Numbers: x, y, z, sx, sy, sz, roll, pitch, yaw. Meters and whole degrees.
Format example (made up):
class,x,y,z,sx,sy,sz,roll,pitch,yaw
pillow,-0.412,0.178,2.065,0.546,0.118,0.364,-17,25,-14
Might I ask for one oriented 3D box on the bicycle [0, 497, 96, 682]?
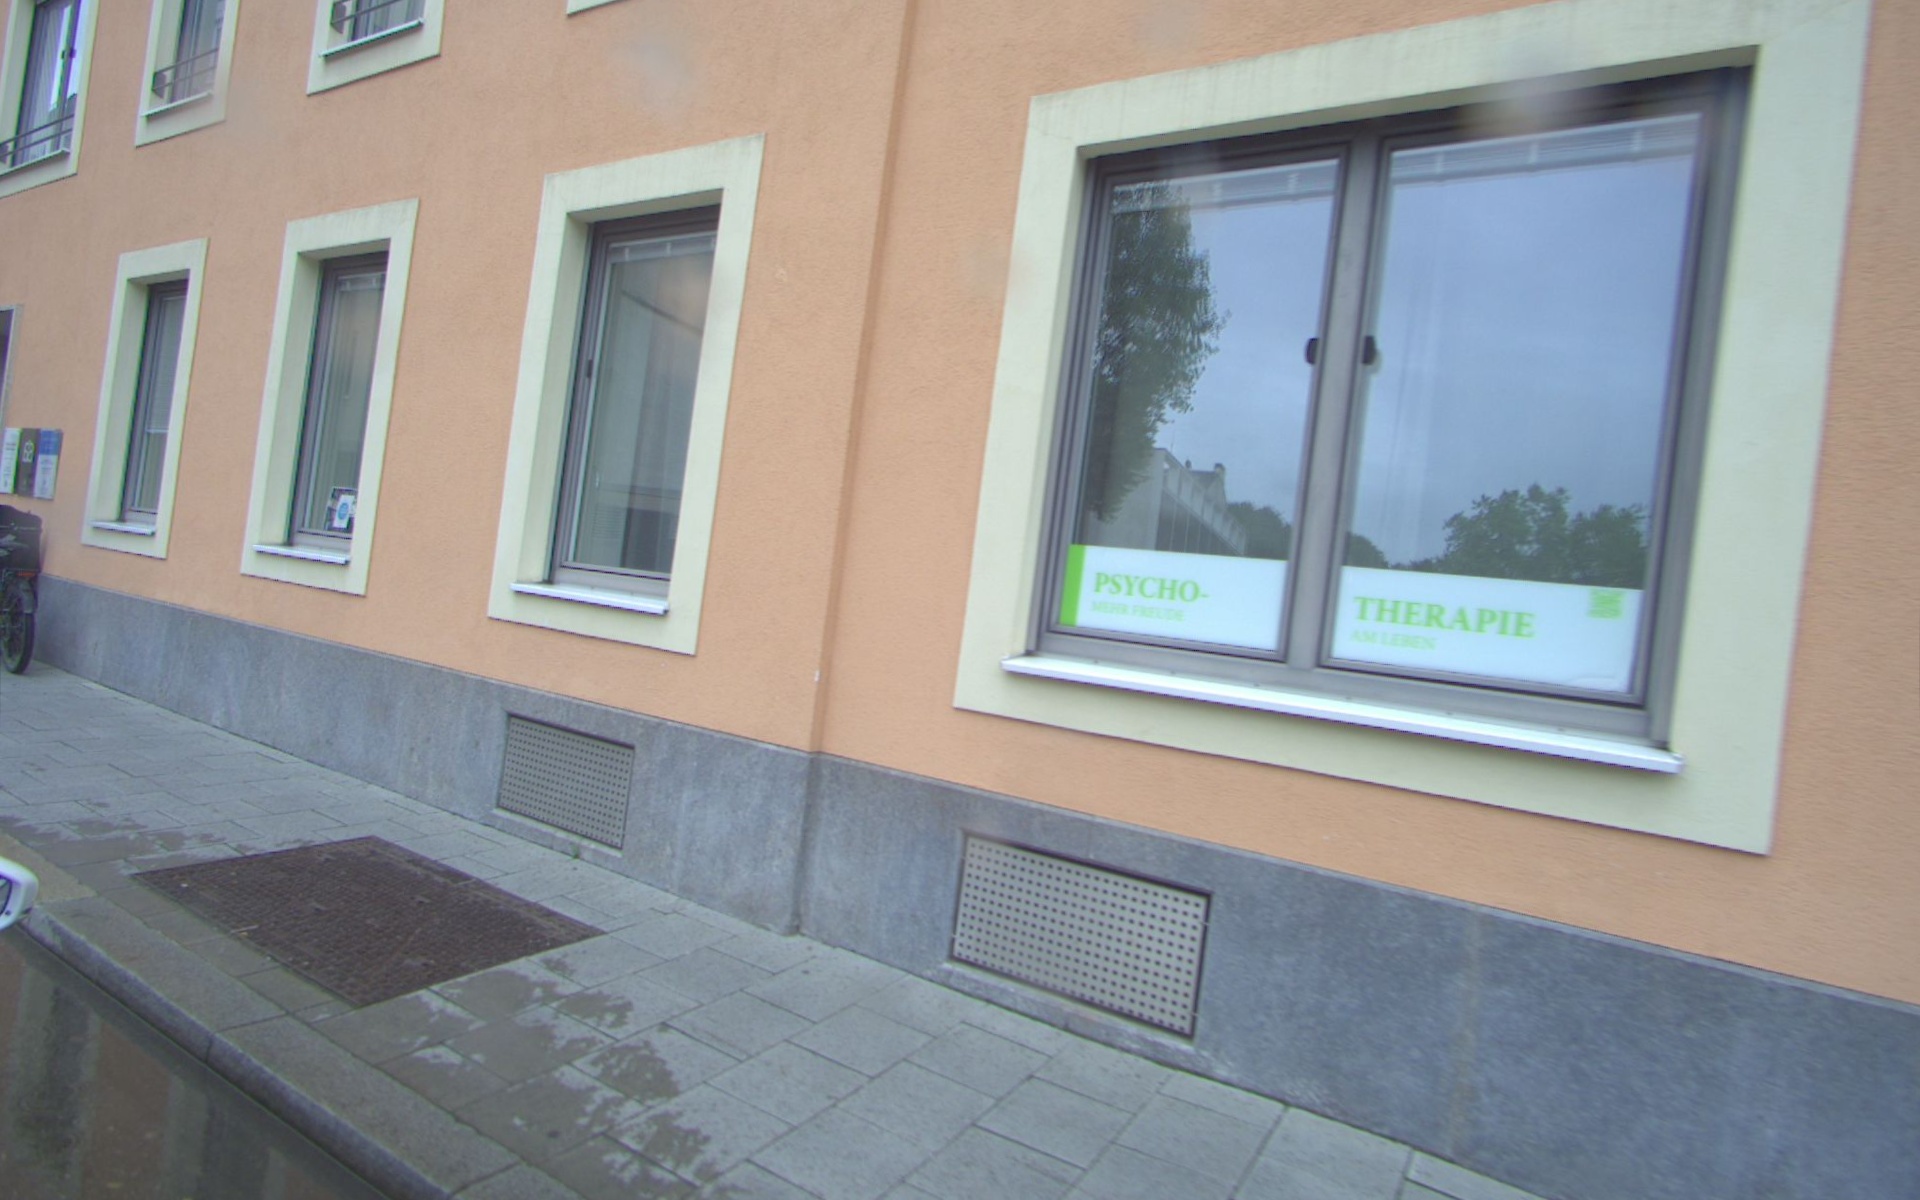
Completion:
class,x,y,z,sx,sy,sz,roll,pitch,yaw
bicycle,-7.760,-0.159,8.021,2.343,1.257,0.679,8,4,33
